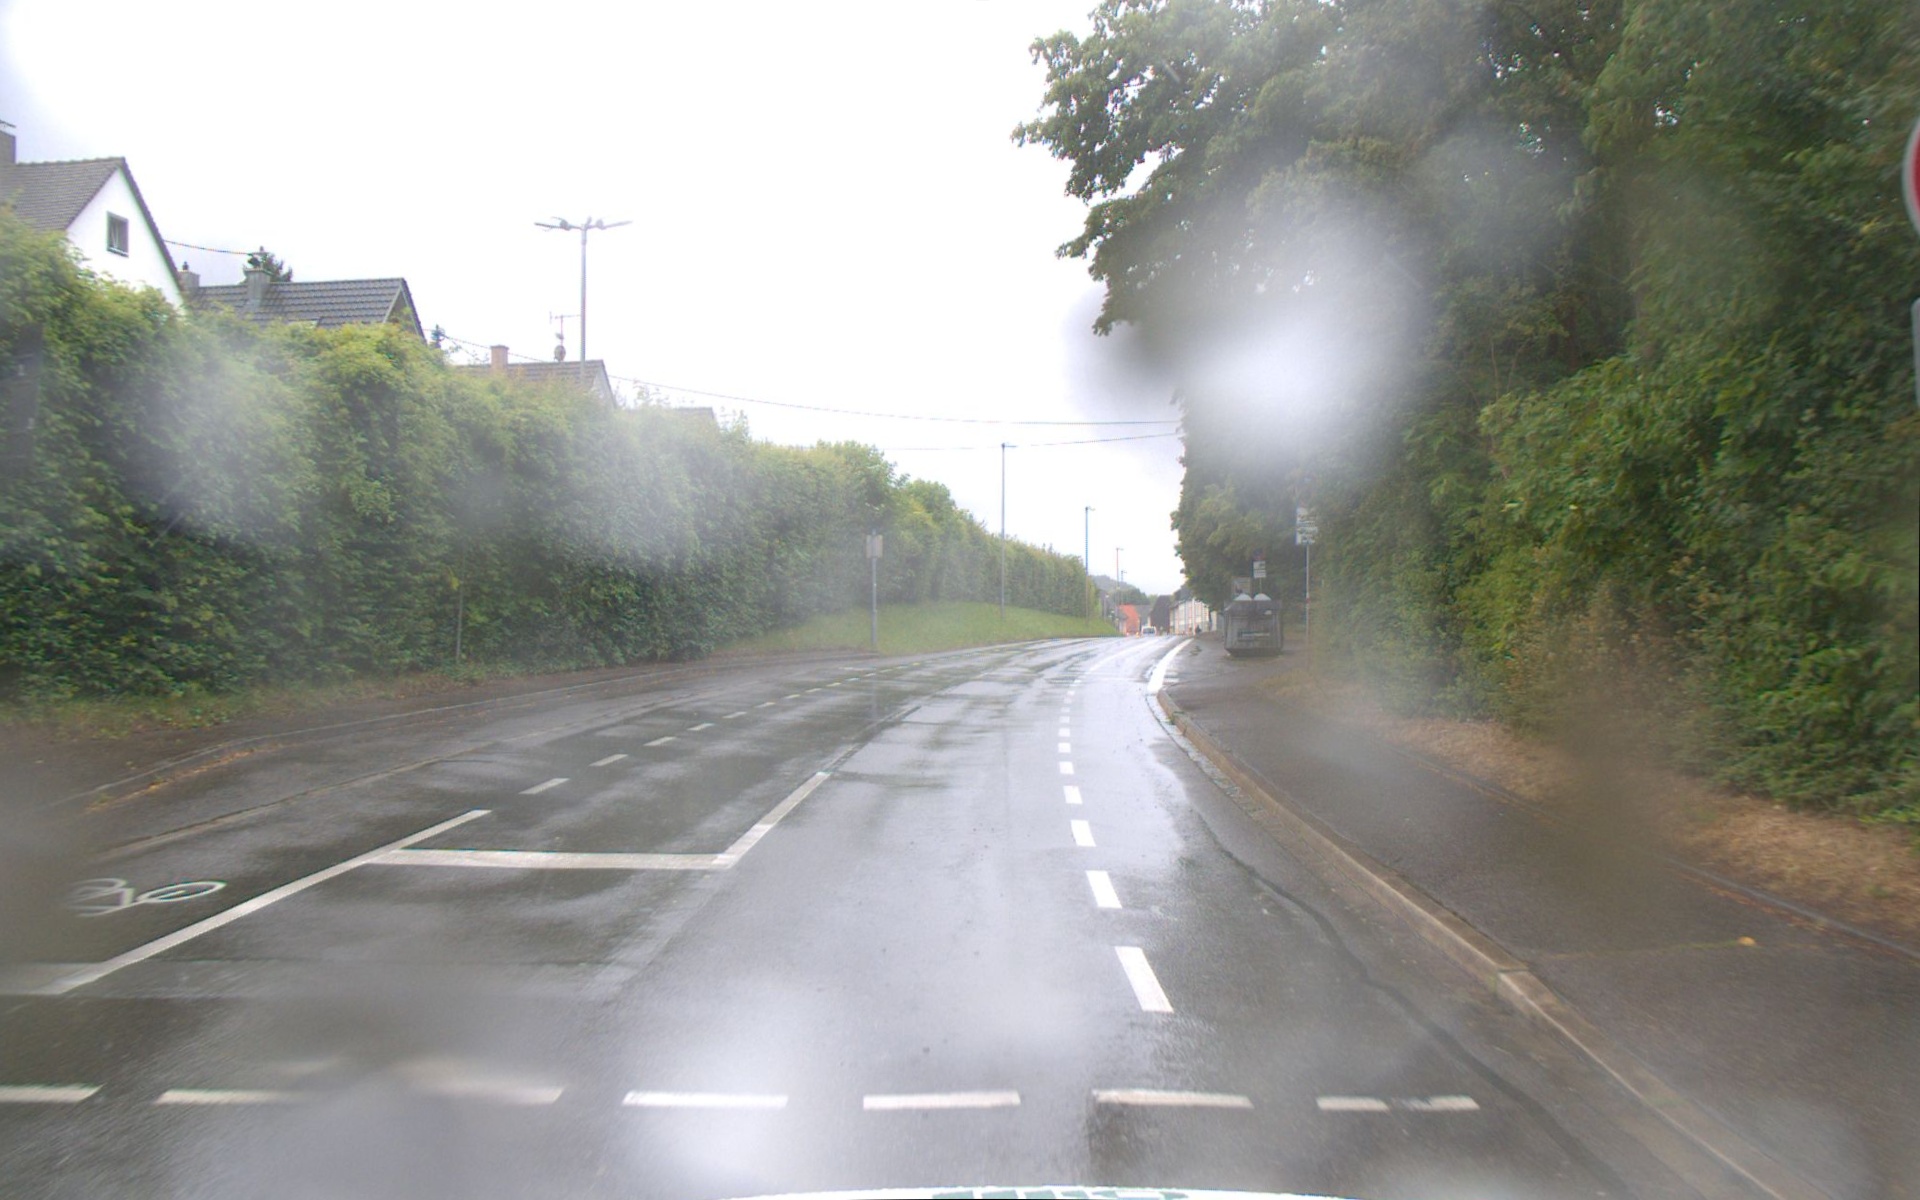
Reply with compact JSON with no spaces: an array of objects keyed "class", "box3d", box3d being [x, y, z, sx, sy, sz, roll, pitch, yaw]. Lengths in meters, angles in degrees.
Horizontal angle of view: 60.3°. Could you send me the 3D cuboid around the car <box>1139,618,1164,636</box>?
[{"class":"car","box3d":[19.642,2.752,169.658,1.953,1.639,4.000,2,1,-1]}]
